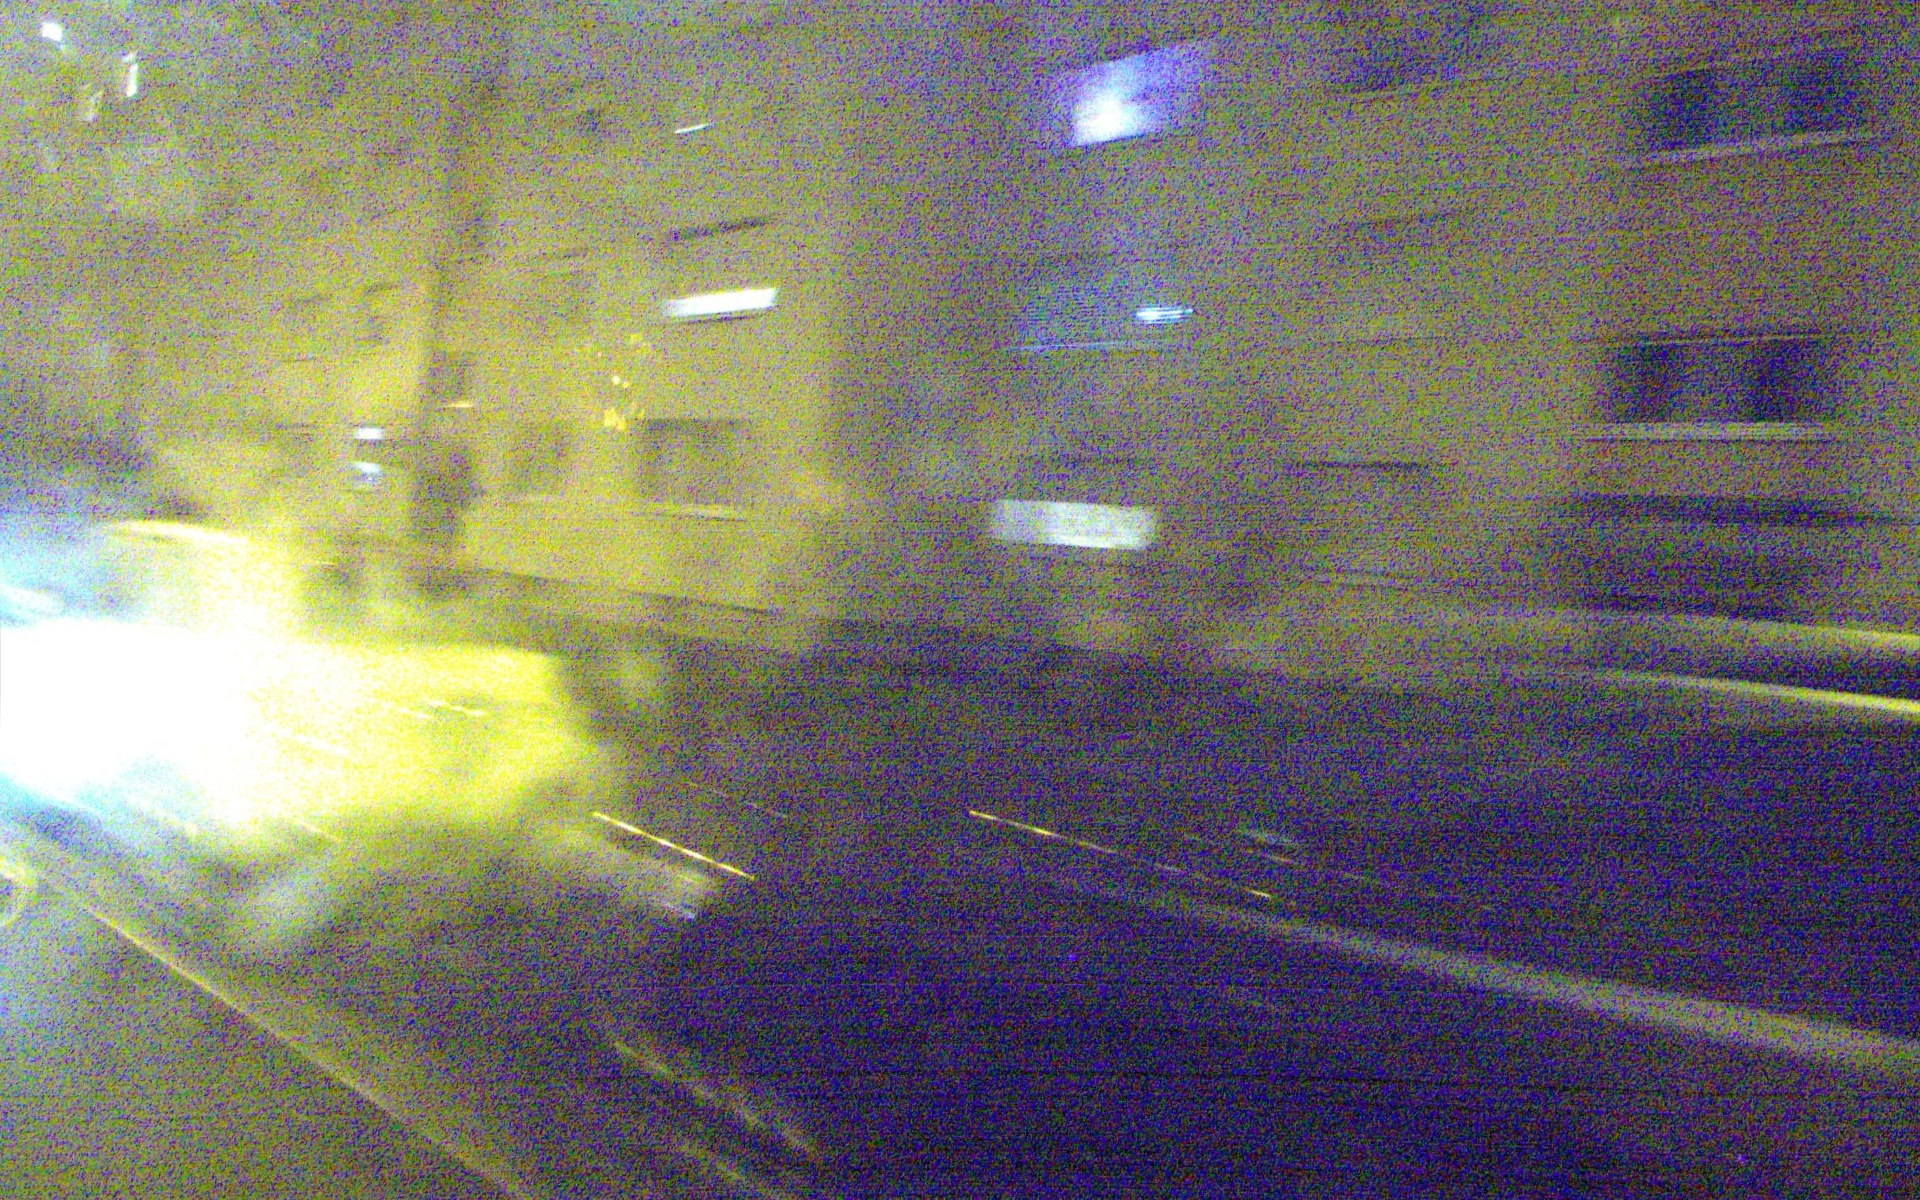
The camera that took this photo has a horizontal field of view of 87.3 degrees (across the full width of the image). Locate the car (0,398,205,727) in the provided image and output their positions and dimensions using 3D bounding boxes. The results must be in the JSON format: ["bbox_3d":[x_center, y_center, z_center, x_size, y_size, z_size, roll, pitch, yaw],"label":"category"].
[{"bbox_3d":[-8.185,-0.532,7.541,5.753,1.976,1.796,7,3,29],"label":"car"}]

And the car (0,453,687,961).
[{"bbox_3d":[-3.495,0.211,4.992,3.884,1.568,1.796,7,3,29],"label":"car"}]

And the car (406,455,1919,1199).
[{"bbox_3d":[1.323,0.776,1.875,4.666,1.600,1.869,7,3,29],"label":"car"}]
